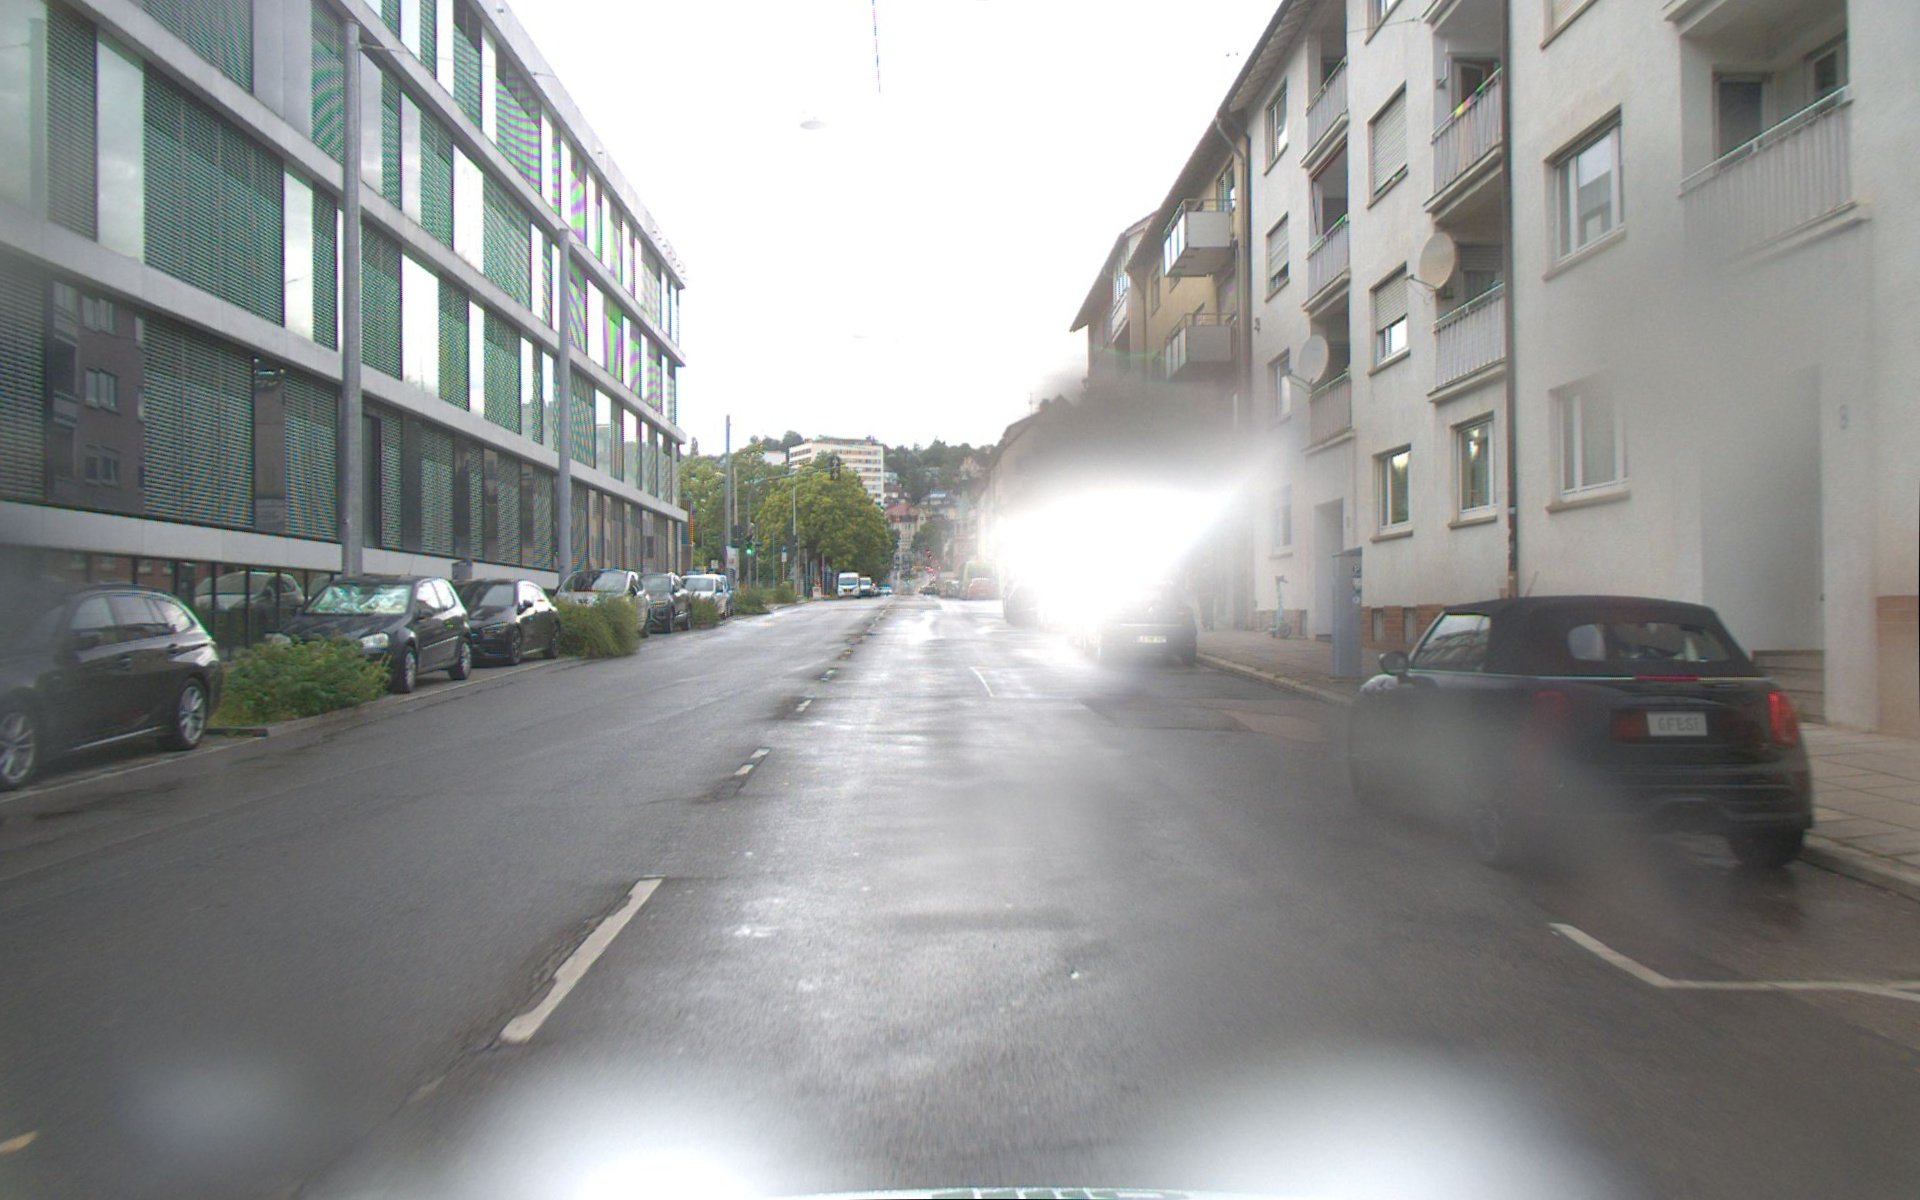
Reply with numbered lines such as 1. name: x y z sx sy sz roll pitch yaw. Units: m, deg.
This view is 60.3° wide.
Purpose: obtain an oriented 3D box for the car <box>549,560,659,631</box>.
1. car: -8.215 -0.140 38.480 1.735 1.561 4.315 0 1 -2

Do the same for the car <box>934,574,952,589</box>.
1. car: -1.810 -1.982 180.200 1.828 1.632 4.190 0 0 1

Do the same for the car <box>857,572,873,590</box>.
1. car: -11.299 -2.246 196.166 1.830 2.178 4.354 0 0 -5

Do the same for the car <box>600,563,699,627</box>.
1. car: -8.300 -0.134 44.564 1.764 1.632 4.235 0 0 1

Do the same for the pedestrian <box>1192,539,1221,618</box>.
1. pedestrian: 5.974 -0.521 40.166 0.626 1.903 0.538 0 0 0

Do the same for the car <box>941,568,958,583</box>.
1. car: -1.245 -2.832 191.123 1.828 1.632 4.190 0 0 1

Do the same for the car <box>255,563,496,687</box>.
1. car: -7.801 0.291 22.544 1.825 1.515 4.345 0 0 -1

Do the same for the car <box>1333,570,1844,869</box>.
1. car: 3.625 0.571 10.295 1.639 1.485 3.763 0 1 -2

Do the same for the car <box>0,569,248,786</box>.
1. car: -7.585 0.518 13.203 1.833 1.498 4.739 0 0 -1

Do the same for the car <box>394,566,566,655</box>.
1. car: -8.267 0.157 28.876 1.800 1.420 4.391 0 0 -1

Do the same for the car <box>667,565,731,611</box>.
1. car: -8.706 -0.434 55.469 1.562 1.485 3.719 0 1 0

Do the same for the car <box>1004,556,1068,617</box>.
1. car: 2.264 -0.429 50.224 1.621 1.768 4.178 0 1 -2

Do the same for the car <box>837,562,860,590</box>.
1. car: -10.600 -2.241 157.318 2.063 2.591 4.747 0 0 -4

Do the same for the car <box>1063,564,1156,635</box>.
1. car: 3.130 -0.024 35.252 1.550 1.438 3.653 0 0 -2

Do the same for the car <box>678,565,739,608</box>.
1. car: -9.201 -0.519 60.778 1.830 1.552 4.194 0 1 -4

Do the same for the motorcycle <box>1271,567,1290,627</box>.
1. motorcycle: 6.461 -0.059 33.378 0.247 1.185 0.781 0 0 1

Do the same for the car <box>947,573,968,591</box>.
1. car: -0.234 -1.668 156.713 1.828 1.632 4.190 0 0 1

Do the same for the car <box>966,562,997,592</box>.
1. car: 1.353 -1.371 102.051 1.828 1.801 4.190 0 0 1

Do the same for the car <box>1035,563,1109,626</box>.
1. car: 2.927 -0.150 43.915 1.602 1.598 3.710 0 0 -2

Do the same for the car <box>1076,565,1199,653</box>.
1. car: 3.134 0.139 29.900 1.672 1.479 3.983 0 0 -2

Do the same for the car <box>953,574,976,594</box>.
1. car: 0.394 -1.320 137.367 1.828 1.632 4.190 0 0 1

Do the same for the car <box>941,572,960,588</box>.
1. car: -0.945 -2.090 172.054 1.828 1.632 4.190 0 0 1
